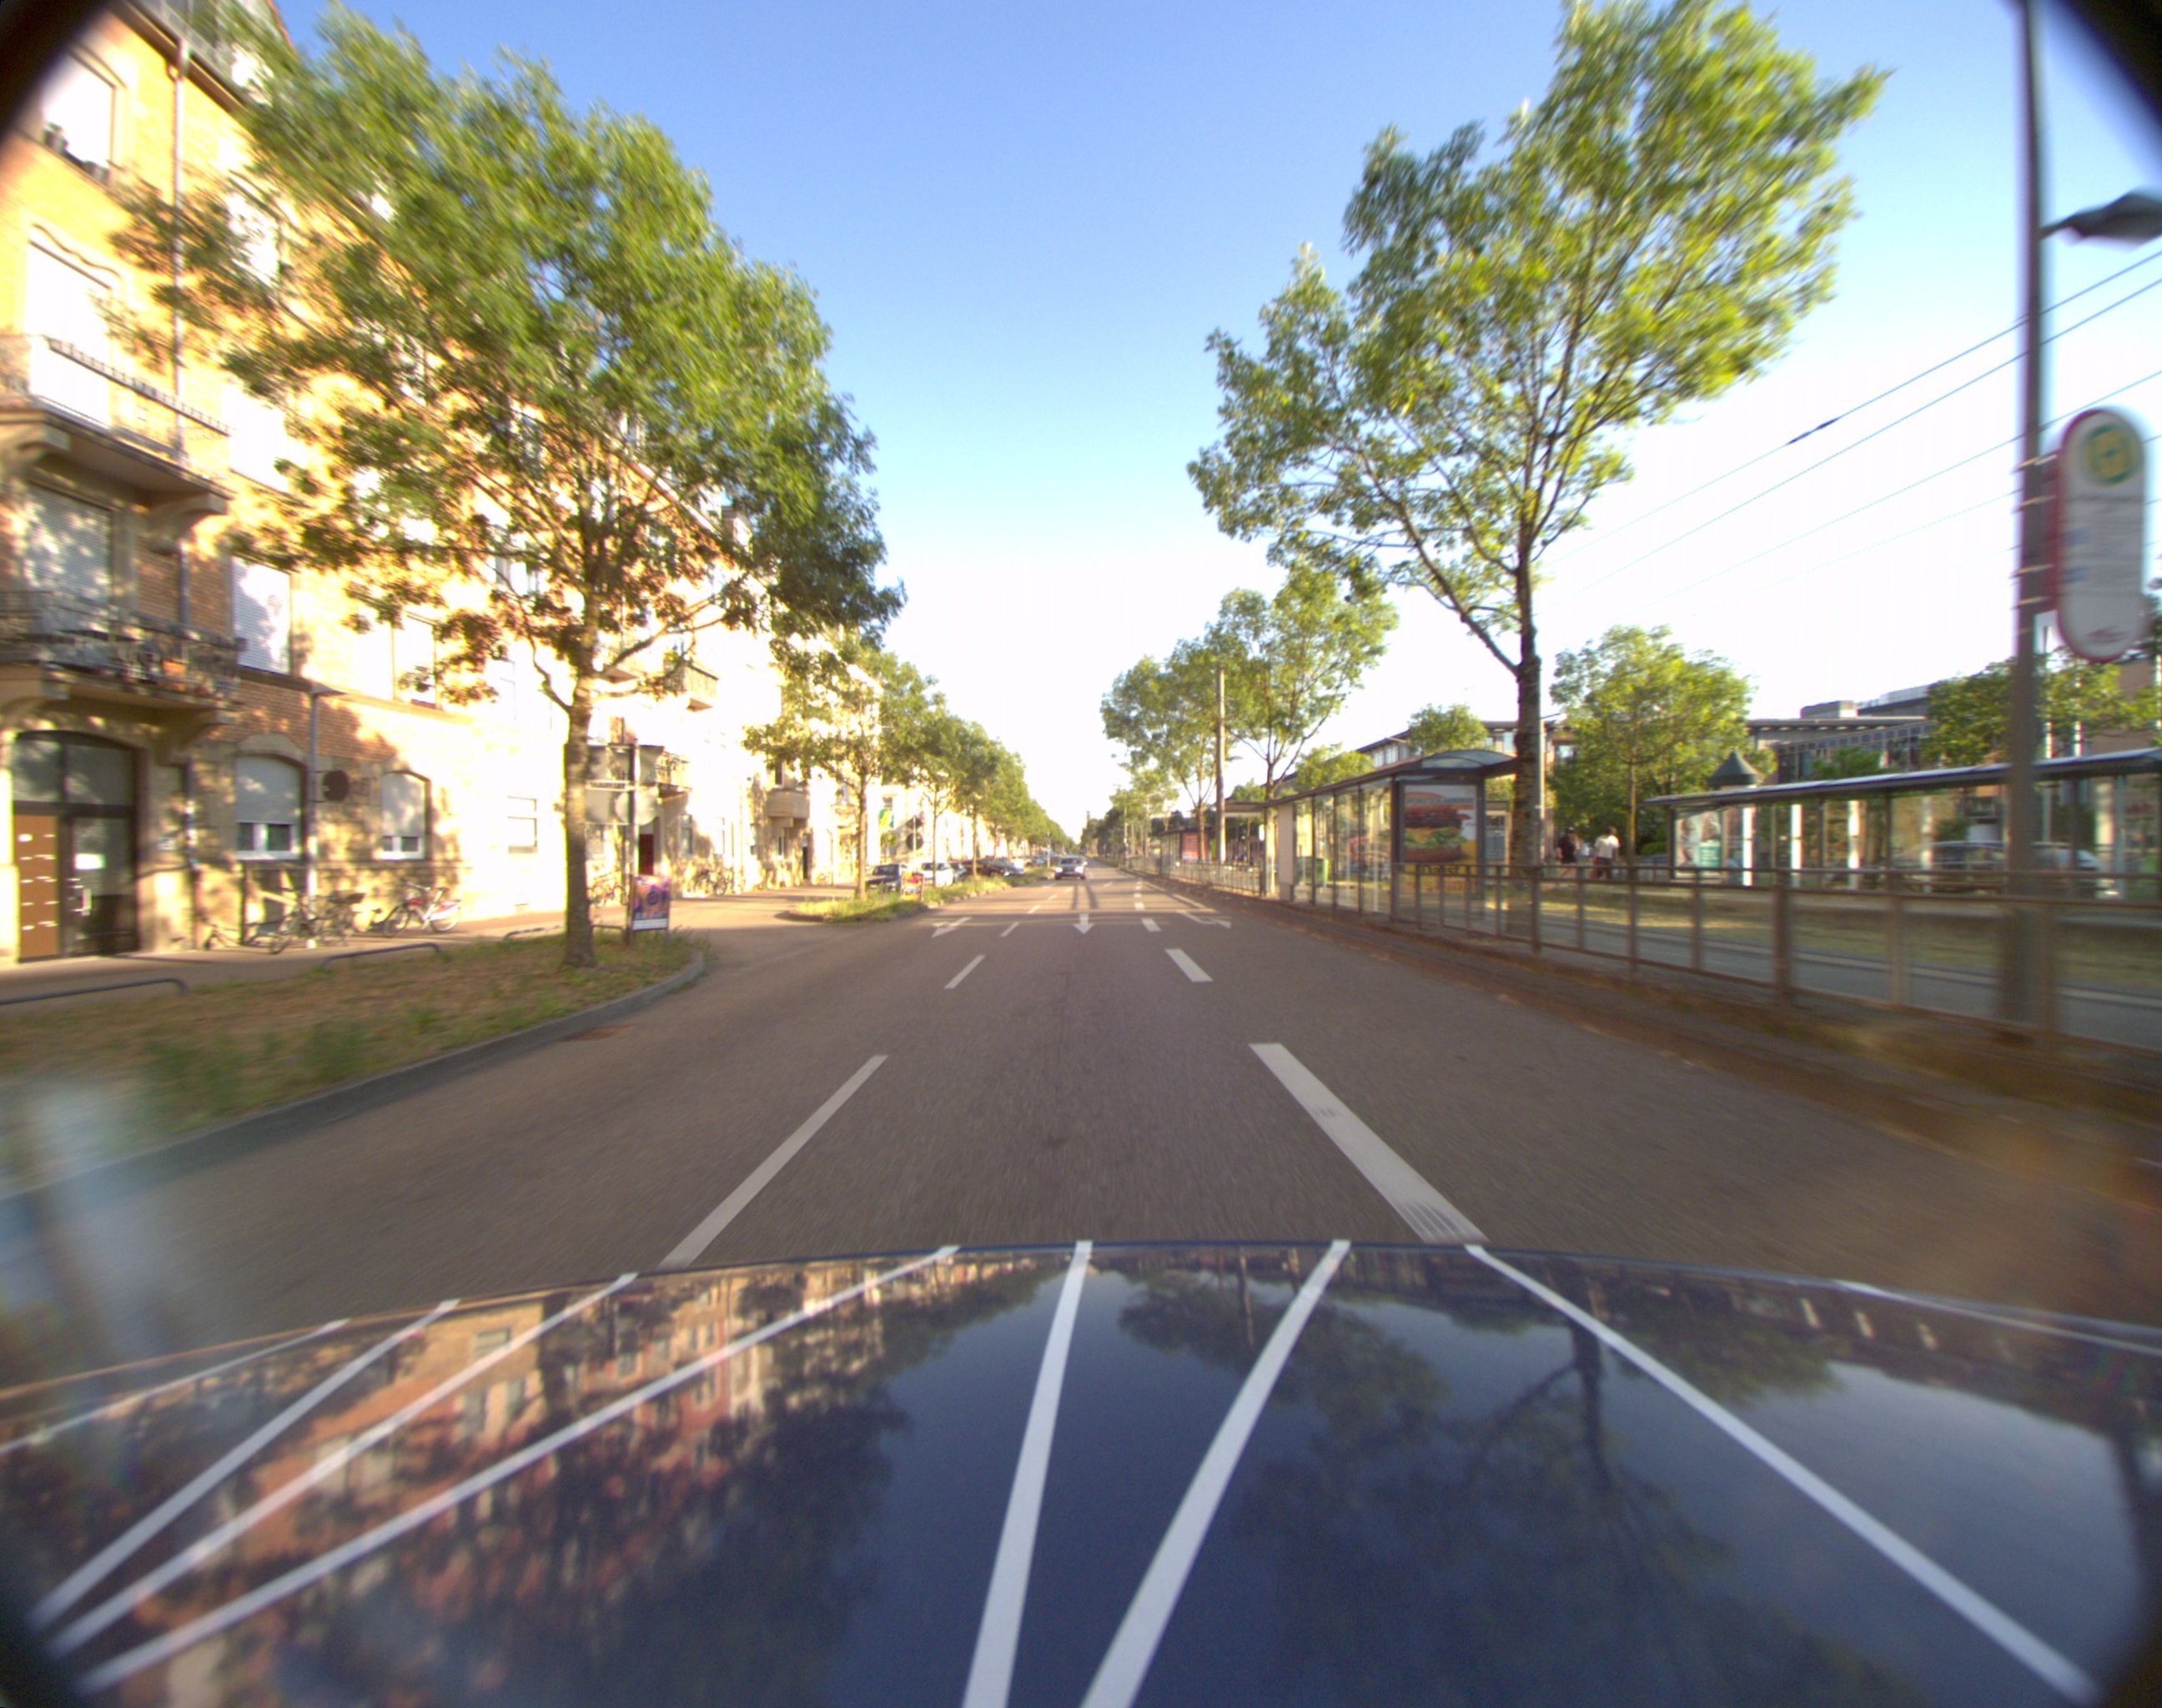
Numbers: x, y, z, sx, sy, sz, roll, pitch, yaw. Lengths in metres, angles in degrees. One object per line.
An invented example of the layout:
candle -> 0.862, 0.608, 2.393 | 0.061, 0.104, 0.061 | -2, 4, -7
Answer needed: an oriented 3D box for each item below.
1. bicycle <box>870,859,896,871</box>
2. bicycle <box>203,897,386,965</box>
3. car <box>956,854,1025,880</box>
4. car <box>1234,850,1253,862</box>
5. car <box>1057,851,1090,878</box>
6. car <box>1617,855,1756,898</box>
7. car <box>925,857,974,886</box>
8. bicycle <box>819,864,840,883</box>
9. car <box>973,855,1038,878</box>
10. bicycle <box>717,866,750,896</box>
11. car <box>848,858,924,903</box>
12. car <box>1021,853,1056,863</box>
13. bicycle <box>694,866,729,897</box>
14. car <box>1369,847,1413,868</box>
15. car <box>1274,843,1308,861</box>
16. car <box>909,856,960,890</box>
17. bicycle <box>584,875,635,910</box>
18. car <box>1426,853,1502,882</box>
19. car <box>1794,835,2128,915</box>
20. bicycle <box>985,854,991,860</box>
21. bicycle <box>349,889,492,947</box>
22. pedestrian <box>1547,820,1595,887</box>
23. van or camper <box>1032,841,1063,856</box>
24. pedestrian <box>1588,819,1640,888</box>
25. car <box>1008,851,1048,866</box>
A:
bicycle -> -18.540, 1.042, 71.174 | 2.211, 1.099, 0.538 | -1, 1, -4
bicycle -> -13.056, 1.242, 12.736 | 0.874, 0.910, 2.084 | 1, 1, 2
car -> -6.162, 0.893, 51.659 | 4.330, 1.562, 2.005 | -3, 0, 33
car -> 19.310, 0.249, 90.469 | 1.544, 1.290, 3.689 | -2, 1, 1
car -> -0.492, 0.634, 49.048 | 1.999, 1.655, 3.999 | -1, 1, 0
car -> 22.414, 0.785, 28.369 | 1.614, 1.405, 4.433 | -1, 1, -1
car -> -7.604, 1.002, 44.323 | 1.950, 1.436, 4.908 | -3, 0, 0
bicycle -> -14.808, 1.117, 44.747 | 0.573, 1.067, 1.896 | 0, 0, 0
car -> -5.392, 0.899, 54.069 | 4.276, 1.513, 1.850 | -1, 0, 32
bicycle -> -14.718, 1.119, 32.228 | 0.484, 1.158, 1.746 | 4, 0, 0
car -> -7.409, 0.958, 29.325 | 1.708, 1.440, 4.288 | -4, 0, 1
car -> -6.042, 0.532, 107.806 | 4.570, 1.340, 1.900 | 0, 1, 33
bicycle -> -14.727, 1.084, 30.324 | 0.484, 1.158, 1.746 | 4, 0, 0
car -> 22.451, 0.213, 55.115 | 1.616, 1.368, 3.749 | 3, 1, 1
car -> 18.795, -0.177, 68.316 | 1.866, 1.499, 4.360 | -1, 0, 0
car -> -7.401, 0.924, 38.789 | 1.730, 1.503, 4.271 | -4, 0, 0
bicycle -> -14.675, 1.191, 23.705 | 0.484, 0.999, 1.746 | -1, 0, 0
car -> 20.506, 0.692, 40.898 | 1.799, 1.407, 4.340 | -2, 1, -1
car -> 19.444, 0.400, 17.259 | 1.998, 1.543, 4.894 | -1, 0, 1
bicycle -> -15.000, 0.488, 122.711 | 0.589, 1.072, 2.227 | 1, 0, 0
bicycle -> -13.188, 1.238, 15.293 | 0.735, 0.942, 2.340 | 1, 0, 3
pedestrian -> 15.082, -0.003, 23.392 | 0.771, 2.002, 1.127 | -1, 1, 2
van or camper -> -6.540, -0.993, 147.363 | 5.635, 2.796, 2.208 | 0, 1, 31
pedestrian -> 15.869, -0.023, 22.641 | 0.771, 2.002, 1.127 | -1, 1, 2
car -> -6.220, 0.487, 89.026 | 4.420, 1.681, 1.920 | -1, 0, 35
